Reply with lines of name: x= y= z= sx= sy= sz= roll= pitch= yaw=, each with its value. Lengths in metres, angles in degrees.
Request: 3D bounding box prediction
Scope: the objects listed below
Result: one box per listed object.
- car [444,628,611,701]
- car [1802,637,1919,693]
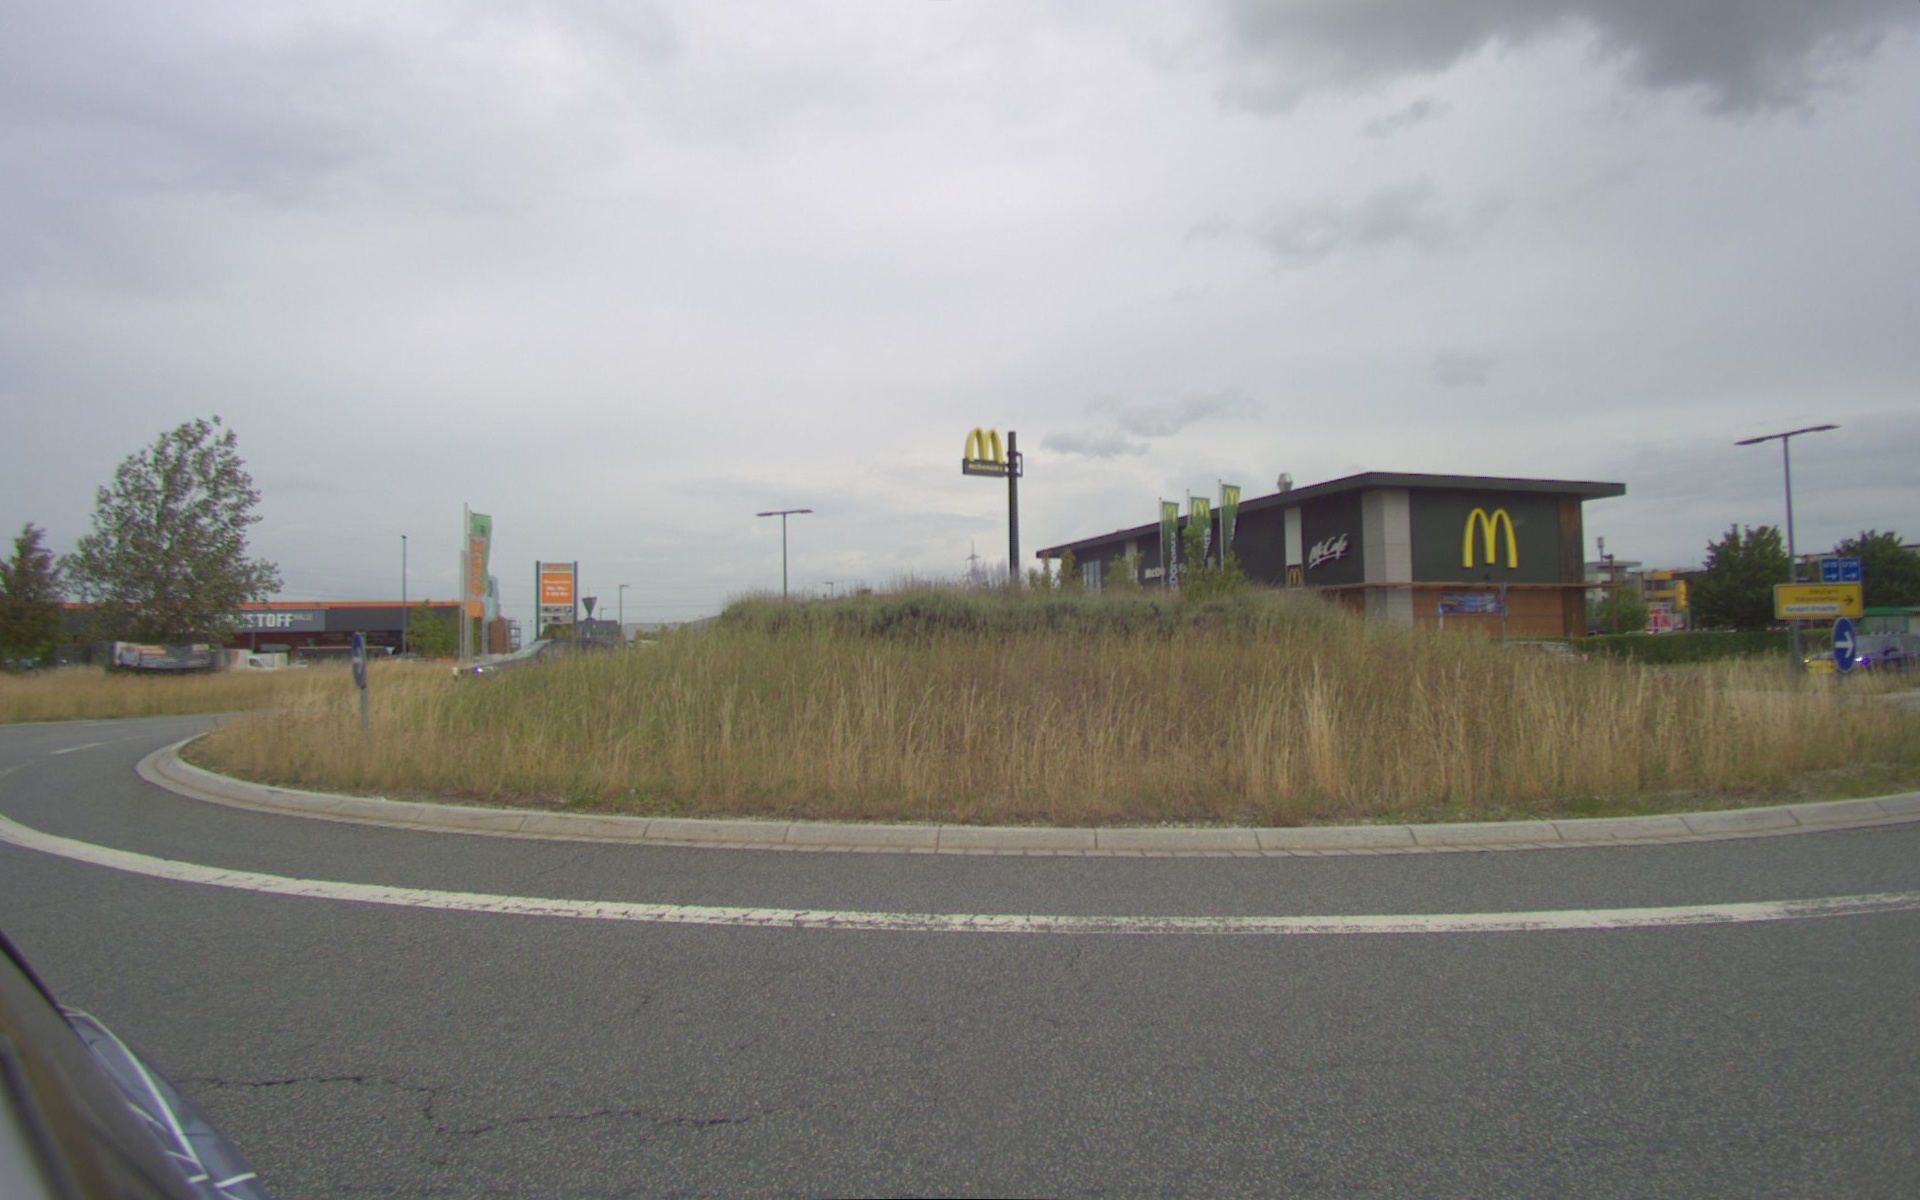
car: x=-12.218 y=1.810 z=28.713 sx=3.937 sy=1.732 sz=1.847 roll=-3 pitch=-3 yaw=-39
car: x=30.461 y=2.120 z=33.730 sx=3.949 sy=1.671 sz=1.902 roll=-1 pitch=-2 yaw=-20
